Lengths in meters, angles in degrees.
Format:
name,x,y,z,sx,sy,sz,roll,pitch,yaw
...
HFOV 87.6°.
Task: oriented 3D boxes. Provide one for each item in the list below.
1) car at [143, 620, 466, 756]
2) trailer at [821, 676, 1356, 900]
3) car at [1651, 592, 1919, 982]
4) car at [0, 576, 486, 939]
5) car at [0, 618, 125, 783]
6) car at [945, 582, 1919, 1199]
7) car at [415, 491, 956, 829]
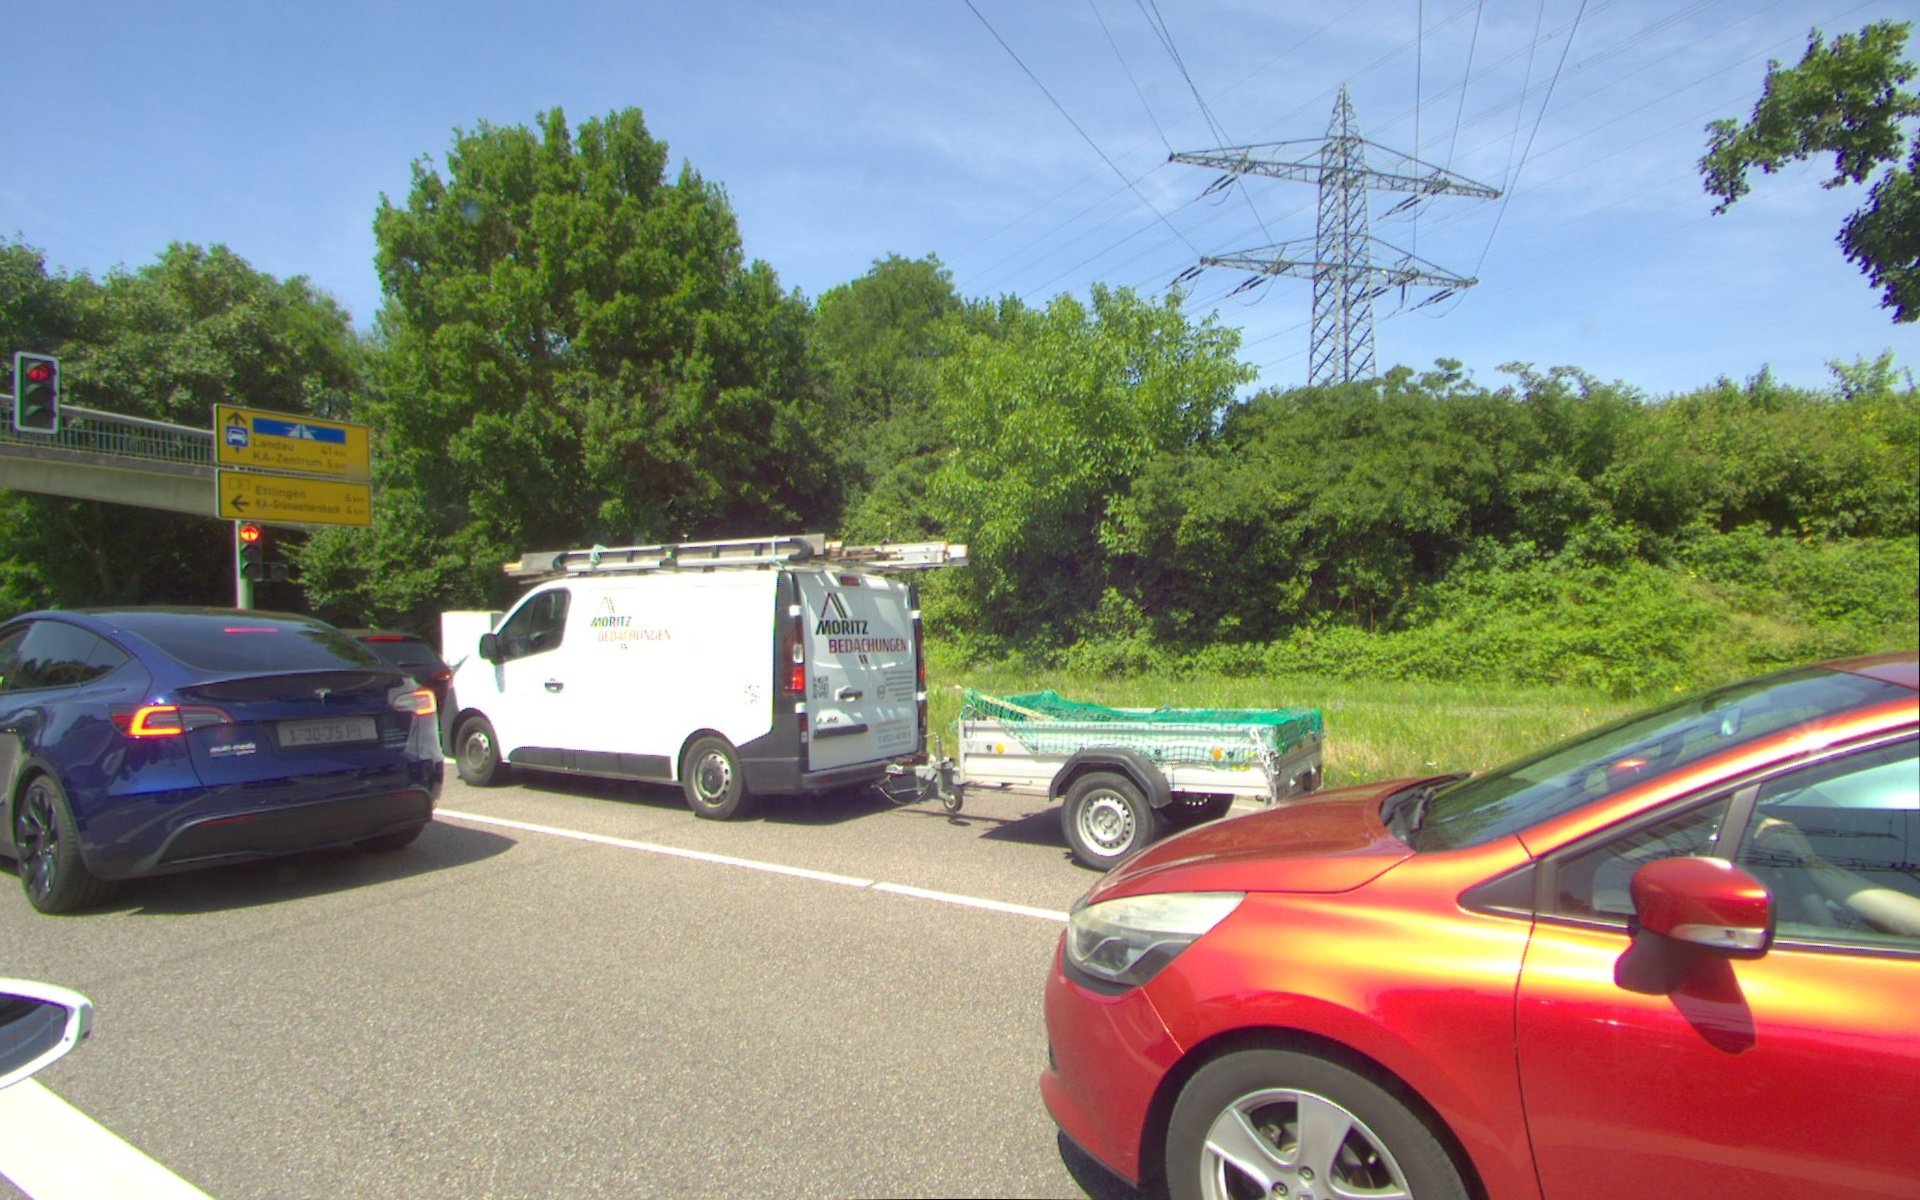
name,x,y,z,sx,sy,sz,roll,pitch,yaw
car,-8.584,1.017,13.027,4.318,1.497,1.897,-1,-2,32
trailer,0.849,1.117,6.911,3.276,1.019,1.703,-1,-1,32
car,5.480,0.771,4.241,4.105,1.616,1.761,-1,0,32
car,-5.327,0.772,6.607,4.455,1.665,1.897,-1,-1,32
car,-10.359,0.929,10.091,3.882,1.497,1.897,-1,-2,32
car,2.112,0.734,2.103,4.006,1.480,1.740,-1,-1,32
car,-2.654,0.476,9.198,5.002,2.379,1.929,-1,-1,32
